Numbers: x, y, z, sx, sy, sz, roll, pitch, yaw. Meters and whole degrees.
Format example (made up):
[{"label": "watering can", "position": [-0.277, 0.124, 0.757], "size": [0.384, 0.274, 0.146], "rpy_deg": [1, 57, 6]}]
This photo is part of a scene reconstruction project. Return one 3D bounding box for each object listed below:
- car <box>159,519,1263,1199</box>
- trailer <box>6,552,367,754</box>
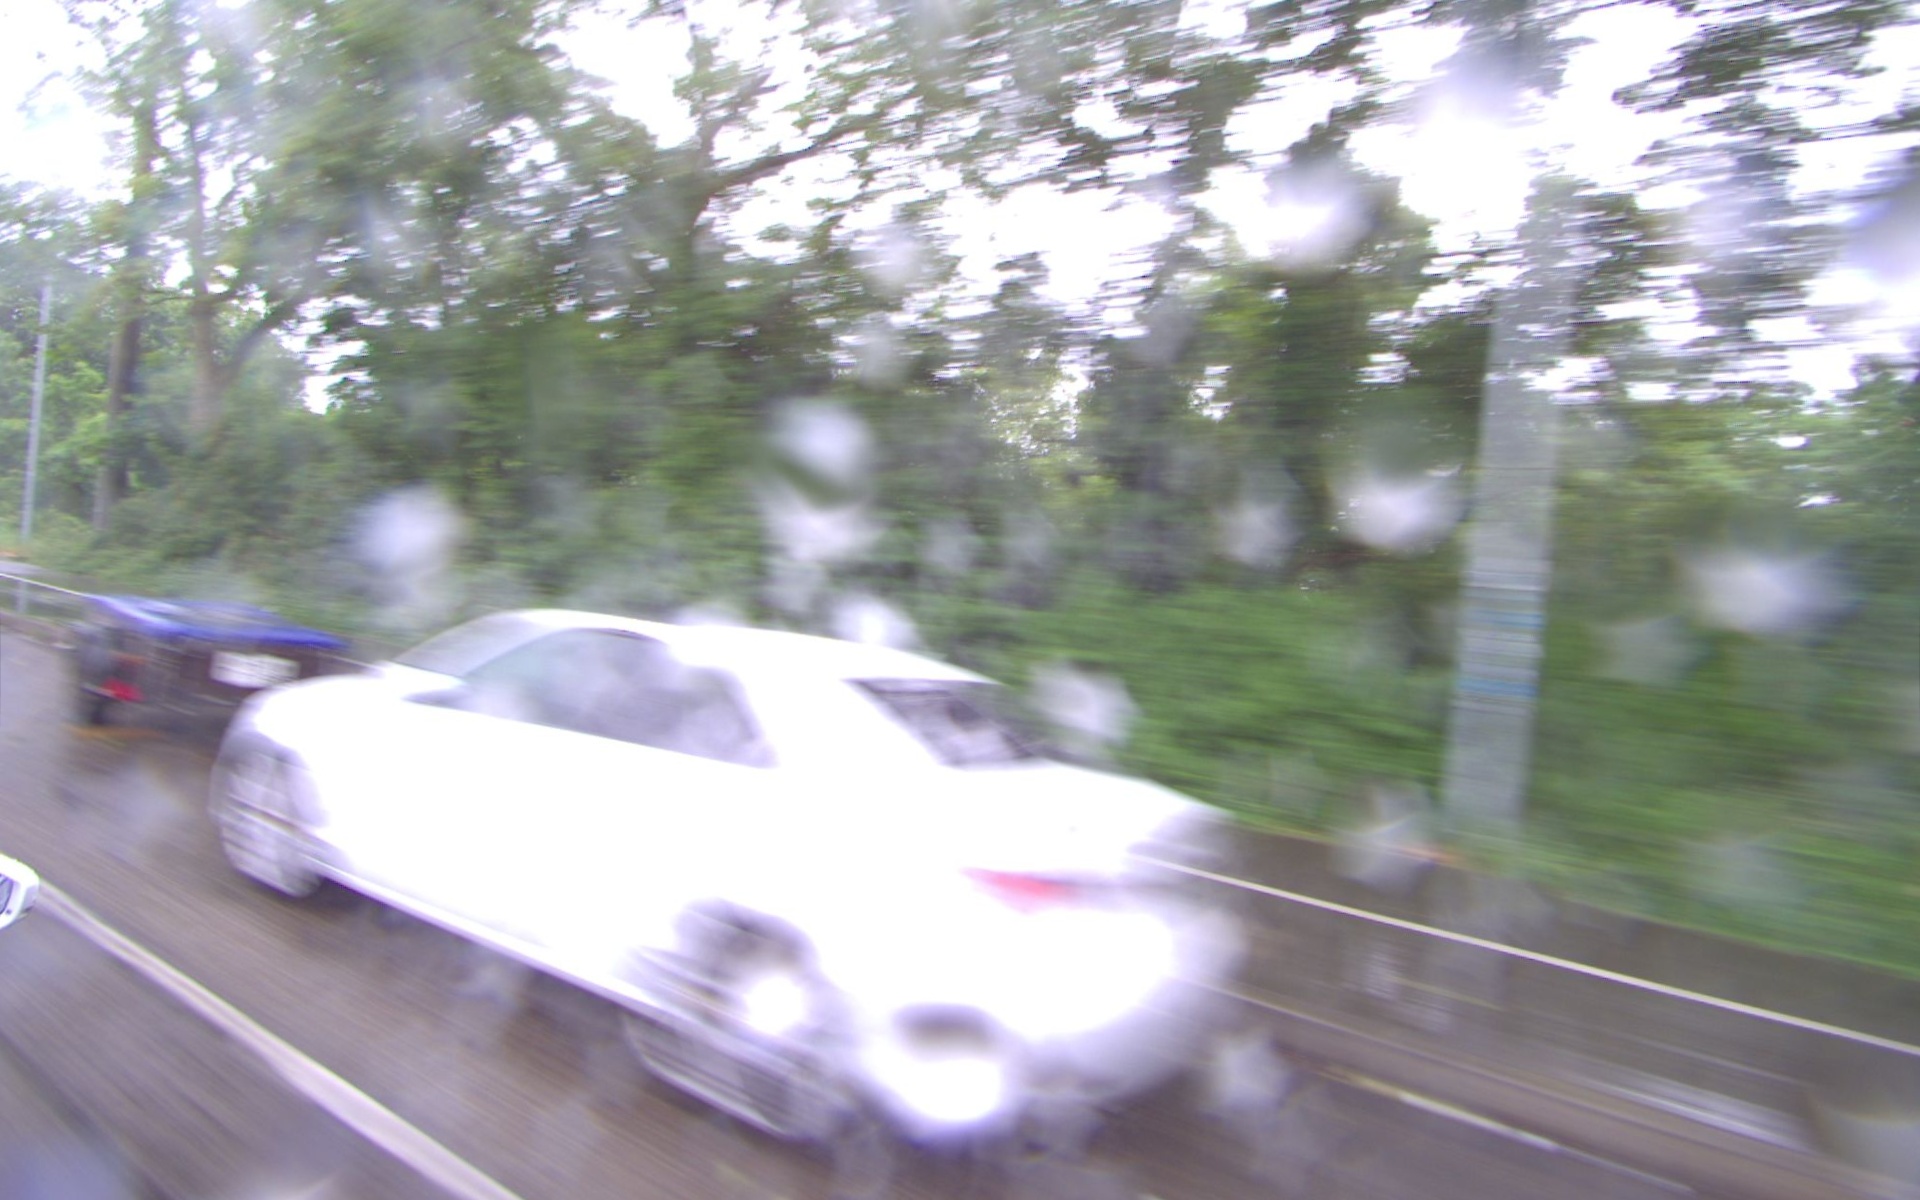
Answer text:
[{"label": "car", "position": [-1.251, 0.688, 4.243], "size": [4.406, 1.503, 1.823], "rpy_deg": [7, -2, 32]}, {"label": "trailer", "position": [-6.028, 0.346, 7.719], "size": [3.391, 1.058, 1.377], "rpy_deg": [6, -2, 39]}]
